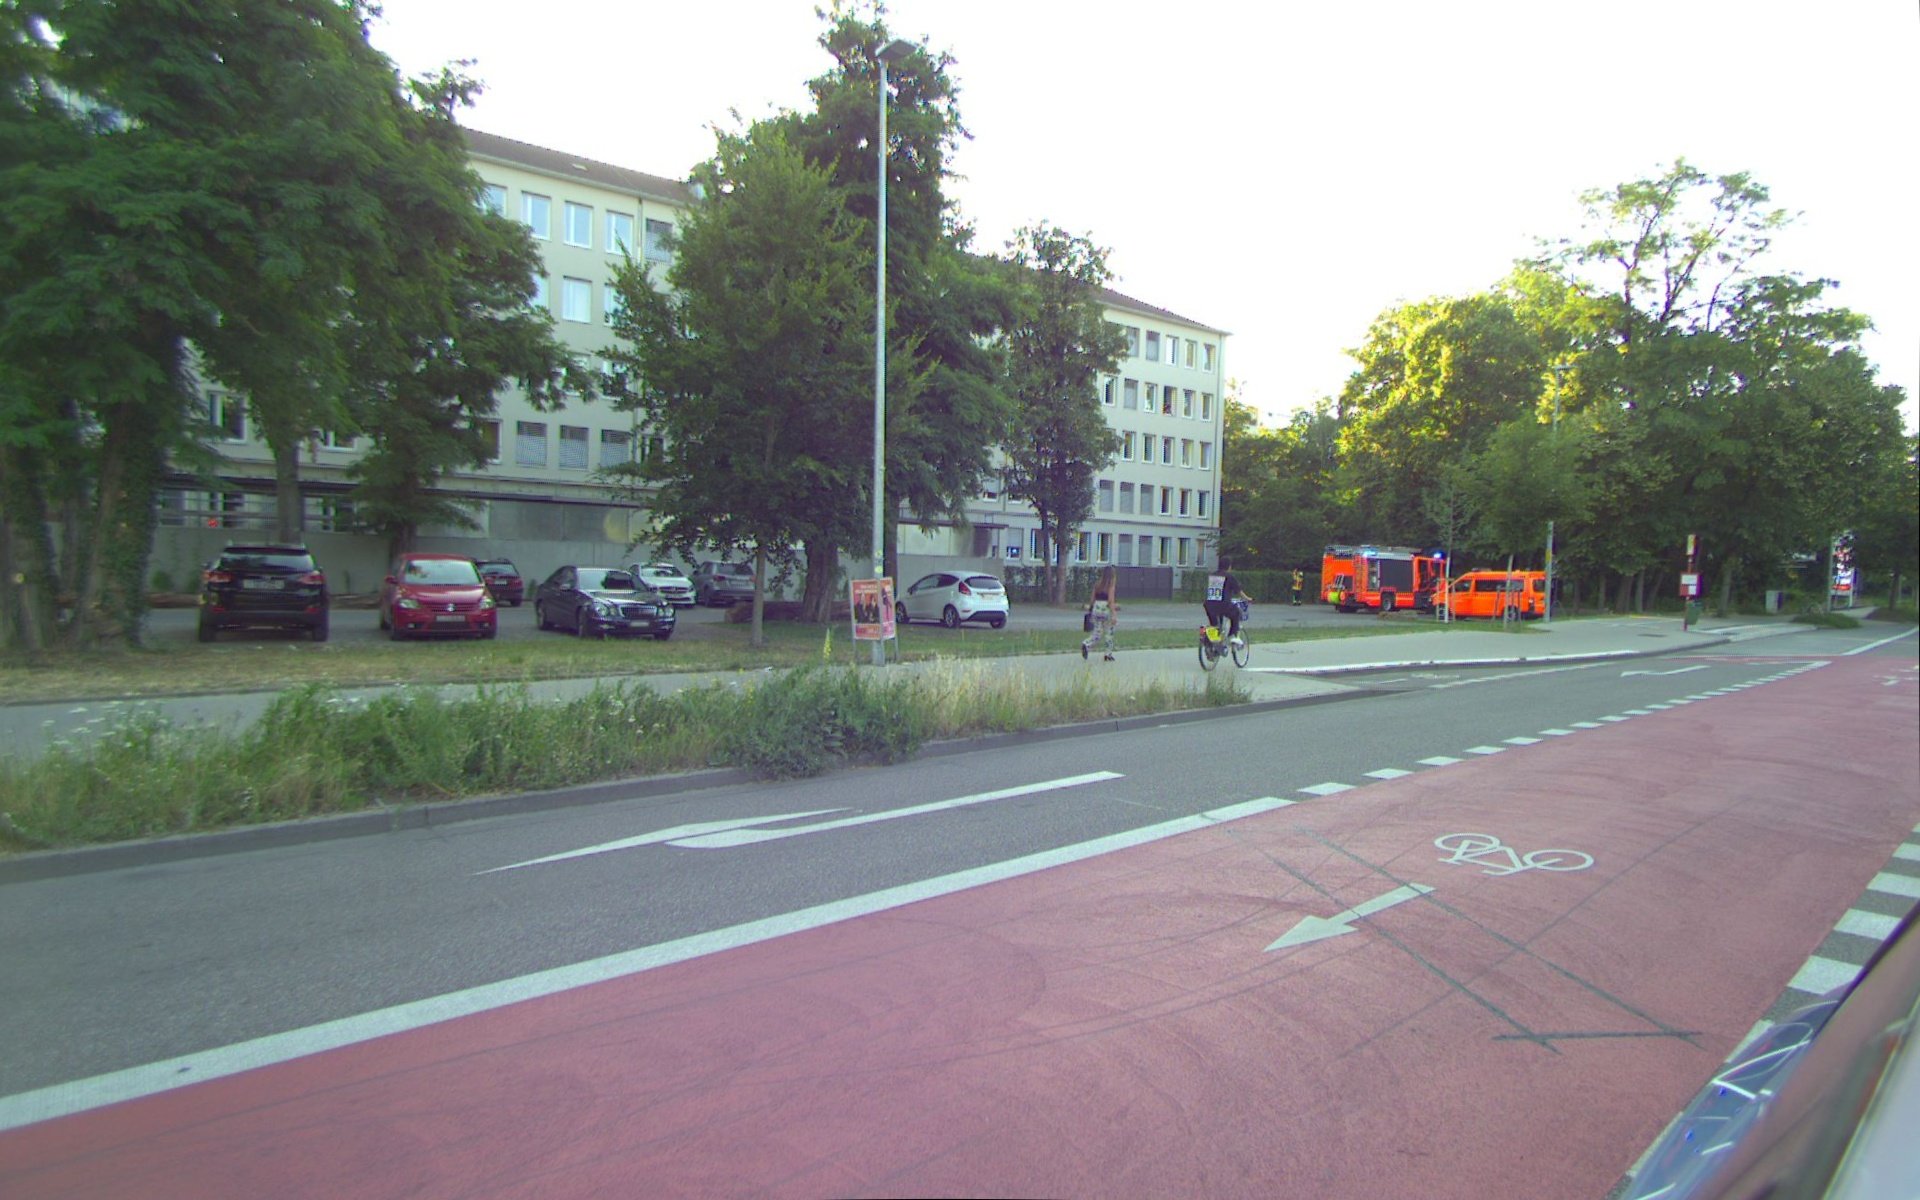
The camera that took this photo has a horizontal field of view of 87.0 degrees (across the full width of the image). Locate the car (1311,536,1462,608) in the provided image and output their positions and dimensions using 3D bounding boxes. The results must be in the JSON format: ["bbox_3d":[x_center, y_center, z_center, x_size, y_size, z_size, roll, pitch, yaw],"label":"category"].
[{"bbox_3d":[20.966,-1.347,49.516,8.138,3.283,2.775,0,2,-34],"label":"car"}]

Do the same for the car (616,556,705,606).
[{"bbox_3d":[-10.020,-0.658,33.686,1.880,1.540,3.921,0,2,-32],"label":"car"}]

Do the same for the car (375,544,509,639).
[{"bbox_3d":[-10.111,-0.231,19.598,1.882,1.630,4.003,0,2,-33],"label":"car"}]

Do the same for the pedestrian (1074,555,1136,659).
[{"bbox_3d":[2.379,0.105,16.654,0.676,1.642,0.682,1,2,-41],"label":"pedestrian"}]

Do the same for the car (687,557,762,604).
[{"bbox_3d":[-8.204,-0.700,35.084,1.734,1.477,3.320,1,2,-27],"label":"car"}]

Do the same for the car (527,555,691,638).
[{"bbox_3d":[-7.386,-0.141,20.990,1.883,1.482,4.519,0,3,-37],"label":"car"}]

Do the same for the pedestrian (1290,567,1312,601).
[{"bbox_3d":[18.701,-0.874,55.494,0.670,1.864,0.846,1,1,-36],"label":"pedestrian"}]

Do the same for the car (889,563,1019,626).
[{"bbox_3d":[-0.223,-0.190,26.856,1.633,1.477,3.667,0,2,-35],"label":"car"}]

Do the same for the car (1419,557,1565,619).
[{"bbox_3d":[22.779,-0.567,43.553,1.963,2.422,5.168,0,2,-37],"label":"car"}]

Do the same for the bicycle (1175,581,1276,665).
[{"bbox_3d":[4.264,0.343,16.166,1.866,1.256,0.571,0,2,-41],"label":"bicycle"}]

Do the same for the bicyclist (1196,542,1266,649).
[{"bbox_3d":[4.353,-0.082,16.225,1.019,1.652,0.571,0,2,-41],"label":"bicyclist"}]

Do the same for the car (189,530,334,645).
[{"bbox_3d":[-12.293,-0.292,17.864,1.882,1.761,4.241,0,2,-35],"label":"car"}]

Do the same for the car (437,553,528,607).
[{"bbox_3d":[-14.528,-0.637,30.700,1.738,1.477,3.626,0,3,-38],"label":"car"}]
